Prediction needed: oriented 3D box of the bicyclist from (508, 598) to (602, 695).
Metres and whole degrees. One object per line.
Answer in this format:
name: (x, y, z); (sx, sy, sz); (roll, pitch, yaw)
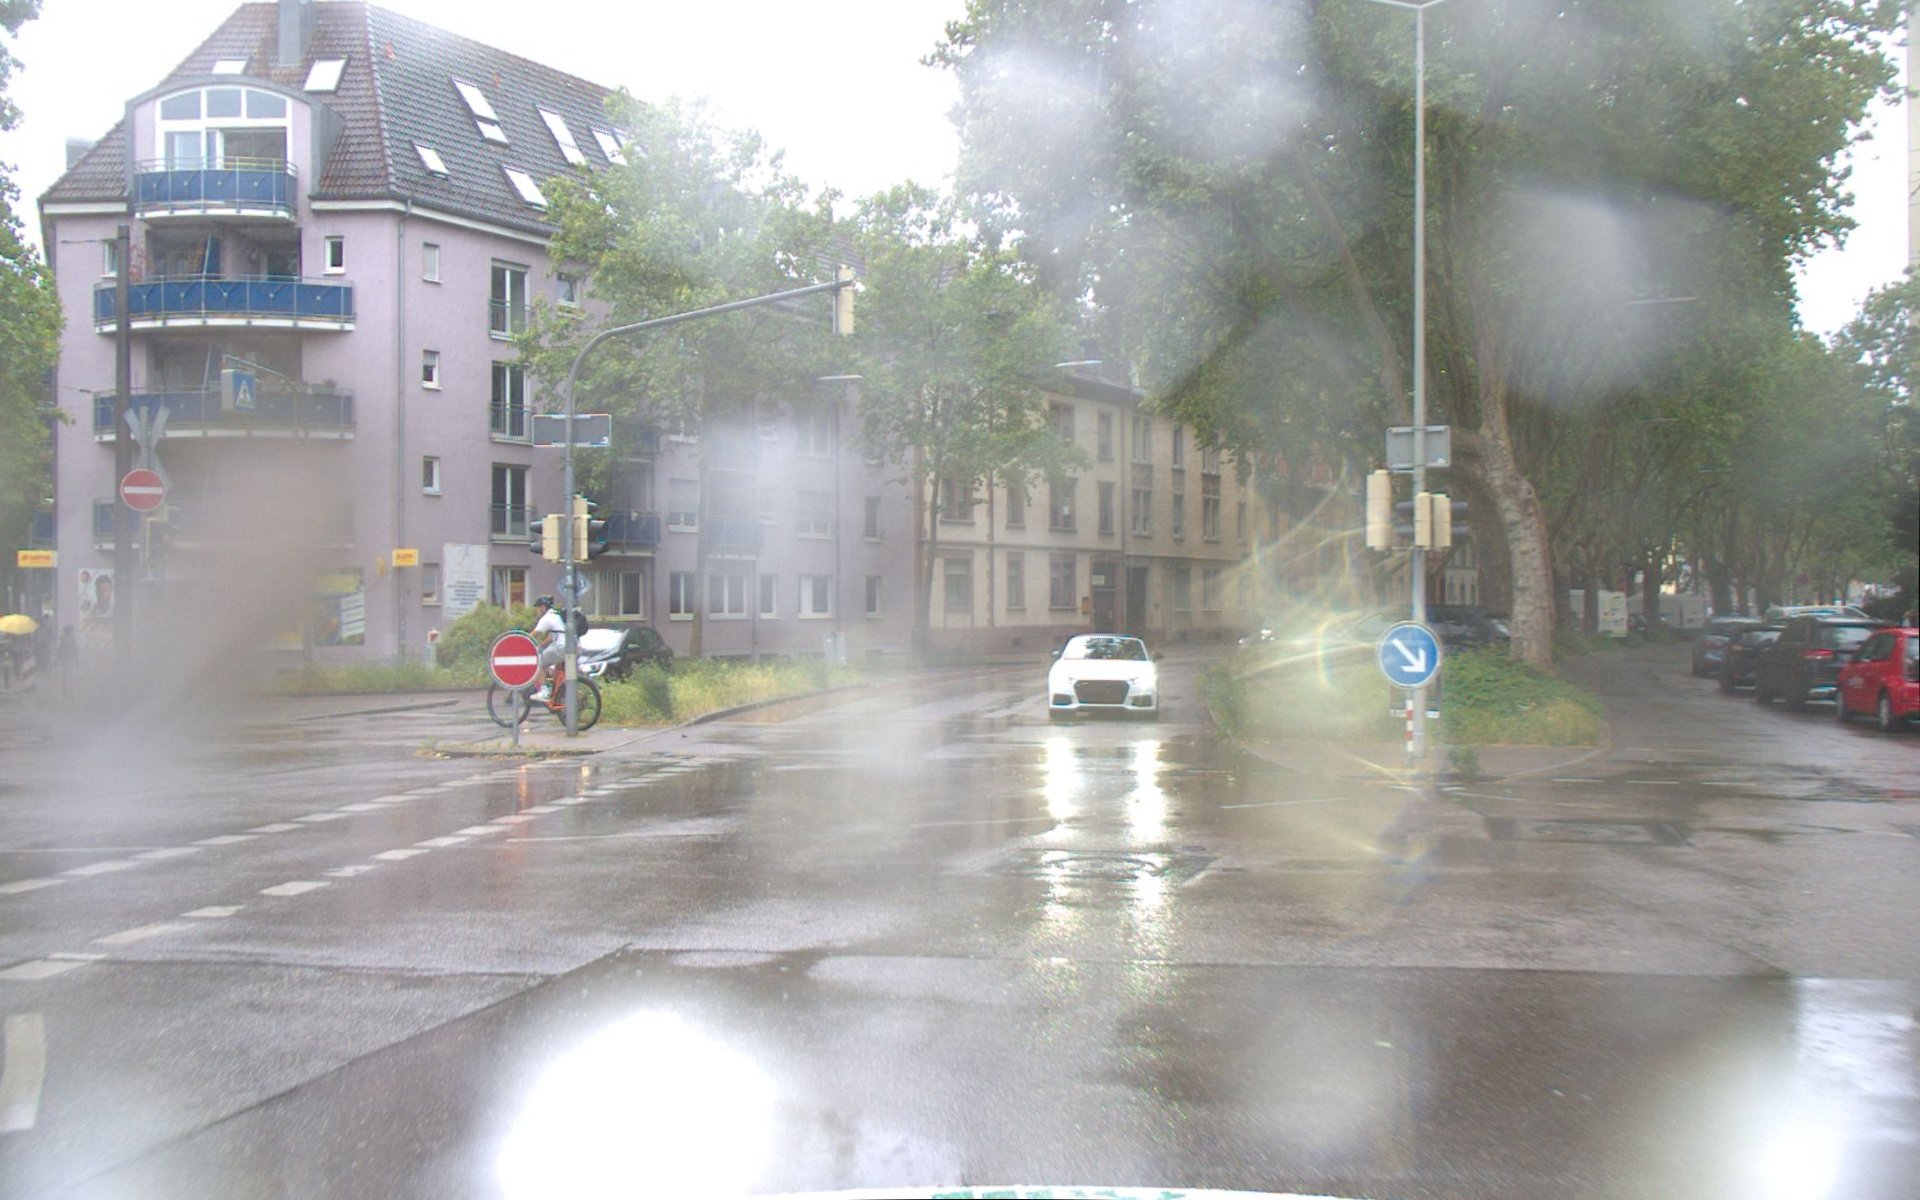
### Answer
bicyclist: (-5.713, 0.637, 23.342); (1.051, 1.332, 0.743); (0, 0, 18)

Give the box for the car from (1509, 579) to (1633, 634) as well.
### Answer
car: (28.060, 0.309, 76.170); (2.197, 2.443, 5.565); (0, -1, -23)

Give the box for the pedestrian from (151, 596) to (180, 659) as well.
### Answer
pedestrian: (-20.803, 0.718, 43.316); (0.462, 1.630, 0.593); (0, -1, -3)

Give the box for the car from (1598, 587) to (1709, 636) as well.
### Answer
car: (38.732, 0.658, 92.567); (1.968, 2.696, 5.923); (0, -1, -25)

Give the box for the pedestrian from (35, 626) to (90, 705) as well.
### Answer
pedestrian: (-18.600, 1.342, 34.287); (0.980, 1.586, 0.777); (0, 0, -29)

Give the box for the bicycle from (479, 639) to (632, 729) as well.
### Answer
bicycle: (-5.704, 1.172, 23.338); (1.992, 1.193, 0.753); (0, 0, 18)

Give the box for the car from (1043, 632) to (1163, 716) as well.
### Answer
car: (2.507, 1.212, 28.227); (1.856, 1.297, 4.175); (0, -1, 7)

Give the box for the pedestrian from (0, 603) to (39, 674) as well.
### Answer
pedestrian: (-24.596, 0.979, 42.762); (0.879, 1.819, 1.159); (-1, -1, 43)

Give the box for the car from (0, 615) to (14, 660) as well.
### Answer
car: (-38.403, 1.459, 65.077); (1.972, 1.703, 3.961); (0, 0, -29)

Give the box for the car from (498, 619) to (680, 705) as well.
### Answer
car: (-6.906, 1.110, 31.261); (1.945, 1.487, 4.181); (0, 0, 9)

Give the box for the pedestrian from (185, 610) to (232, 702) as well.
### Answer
pedestrian: (-15.238, 1.127, 33.526); (0.627, 1.835, 0.622); (0, 0, 6)

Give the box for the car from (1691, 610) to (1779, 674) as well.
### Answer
car: (20.958, 1.117, 44.861); (1.886, 1.662, 4.000); (0, -1, 21)

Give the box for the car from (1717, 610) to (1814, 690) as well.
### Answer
car: (17.323, 1.044, 35.671); (1.798, 1.624, 3.483); (0, -1, 25)

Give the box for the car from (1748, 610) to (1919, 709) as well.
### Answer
car: (15.602, 1.016, 29.770); (1.893, 1.636, 4.458); (0, -1, 17)

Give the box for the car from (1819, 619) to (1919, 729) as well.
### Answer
car: (14.347, 1.060, 24.862); (1.797, 1.551, 3.463); (0, -1, 14)
